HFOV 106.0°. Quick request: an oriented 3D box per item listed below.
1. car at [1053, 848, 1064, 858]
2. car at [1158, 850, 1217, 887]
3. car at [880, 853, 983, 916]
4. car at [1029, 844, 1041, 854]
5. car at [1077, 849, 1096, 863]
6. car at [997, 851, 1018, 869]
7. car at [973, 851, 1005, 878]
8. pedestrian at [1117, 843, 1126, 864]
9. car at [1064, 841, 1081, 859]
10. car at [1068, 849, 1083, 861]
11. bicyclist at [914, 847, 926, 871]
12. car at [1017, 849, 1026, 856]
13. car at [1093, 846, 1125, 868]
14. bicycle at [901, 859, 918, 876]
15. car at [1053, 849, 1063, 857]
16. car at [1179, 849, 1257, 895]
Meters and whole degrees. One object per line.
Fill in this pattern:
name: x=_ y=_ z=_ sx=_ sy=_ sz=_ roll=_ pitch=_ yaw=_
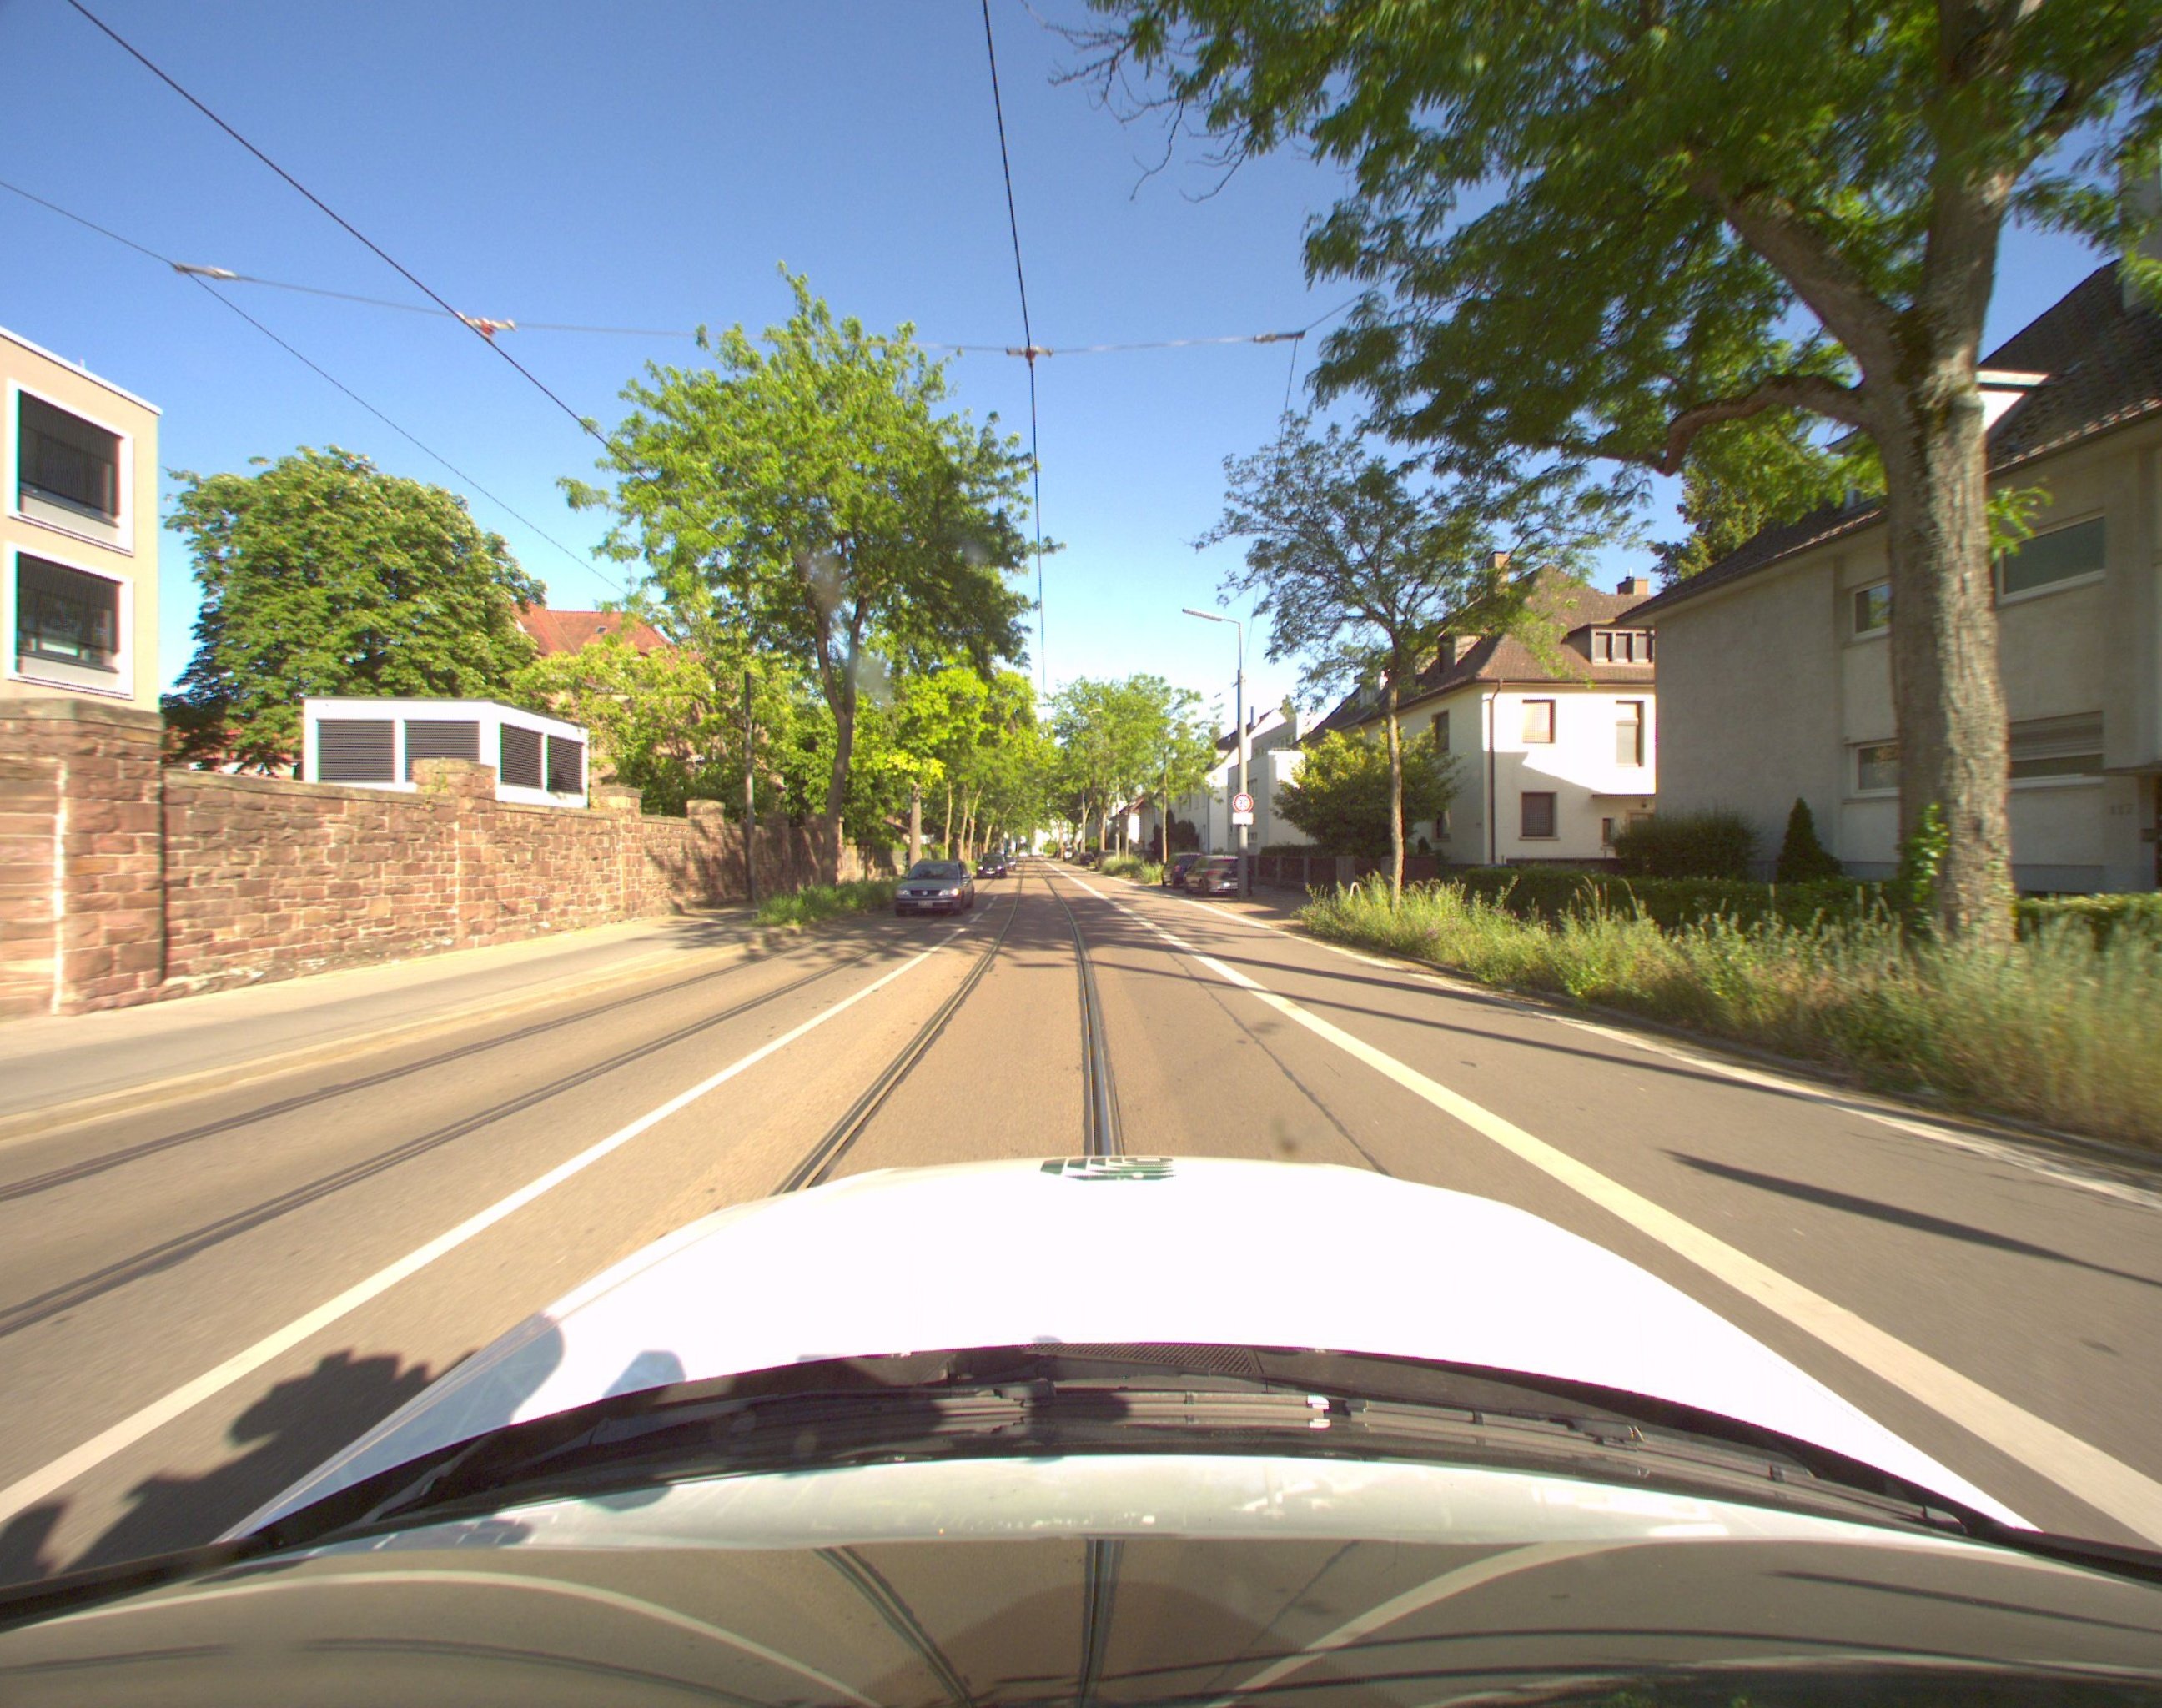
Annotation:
car: x=-4.336 y=-0.186 z=156.835 sx=1.999 sy=1.675 sz=4.386 roll=-2 pitch=0 yaw=-4
car: x=4.521 y=0.575 z=35.201 sx=1.745 sy=1.495 sz=3.991 roll=-1 pitch=0 yaw=-4
car: x=-3.954 y=0.752 z=22.299 sx=1.987 sy=1.524 sz=4.578 roll=0 pitch=0 yaw=-1
car: x=-11.766 y=-1.343 z=206.388 sx=1.998 sy=2.458 sz=4.483 roll=-1 pitch=0 yaw=-17
car: x=0.617 y=0.238 z=93.860 sx=1.781 sy=1.448 sz=4.293 roll=-3 pitch=1 yaw=-5
car: x=-6.419 y=0.483 z=71.445 sx=1.745 sy=1.524 sz=4.064 roll=0 pitch=0 yaw=-4
car: x=-5.540 y=0.611 z=49.615 sx=1.745 sy=1.524 sz=4.030 roll=0 pitch=0 yaw=-4
pedestrian: x=3.801 y=-0.069 z=75.952 sx=0.624 sy=1.870 sz=0.731 roll=-3 pitch=0 yaw=-5
car: x=-1.383 y=-0.613 z=124.942 sx=2.241 sy=2.654 sz=5.577 roll=-2 pitch=0 yaw=-4
car: x=-0.664 y=0.075 z=103.416 sx=1.624 sy=1.397 sz=3.640 roll=-3 pitch=1 yaw=-4
bicyclist: x=-10.557 y=0.315 z=53.407 sx=0.592 sy=1.527 sz=1.060 roll=-1 pitch=0 yaw=-3
car: x=-14.203 y=-0.423 z=195.755 sx=1.865 sy=1.675 sz=4.161 roll=-1 pitch=0 yaw=-8
car: x=2.274 y=0.232 z=67.363 sx=1.990 sy=1.704 sz=4.470 roll=-3 pitch=1 yaw=-5
bicycle: x=-10.535 y=0.820 z=50.035 sx=0.709 sy=0.960 sz=2.092 roll=-1 pitch=0 yaw=-3
car: x=-4.843 y=-0.237 z=174.341 sx=1.996 sy=1.675 sz=4.392 roll=-2 pitch=0 yaw=0
car: x=4.780 y=0.585 z=29.088 sx=1.745 sy=1.495 sz=4.437 roll=-1 pitch=0 yaw=-4
